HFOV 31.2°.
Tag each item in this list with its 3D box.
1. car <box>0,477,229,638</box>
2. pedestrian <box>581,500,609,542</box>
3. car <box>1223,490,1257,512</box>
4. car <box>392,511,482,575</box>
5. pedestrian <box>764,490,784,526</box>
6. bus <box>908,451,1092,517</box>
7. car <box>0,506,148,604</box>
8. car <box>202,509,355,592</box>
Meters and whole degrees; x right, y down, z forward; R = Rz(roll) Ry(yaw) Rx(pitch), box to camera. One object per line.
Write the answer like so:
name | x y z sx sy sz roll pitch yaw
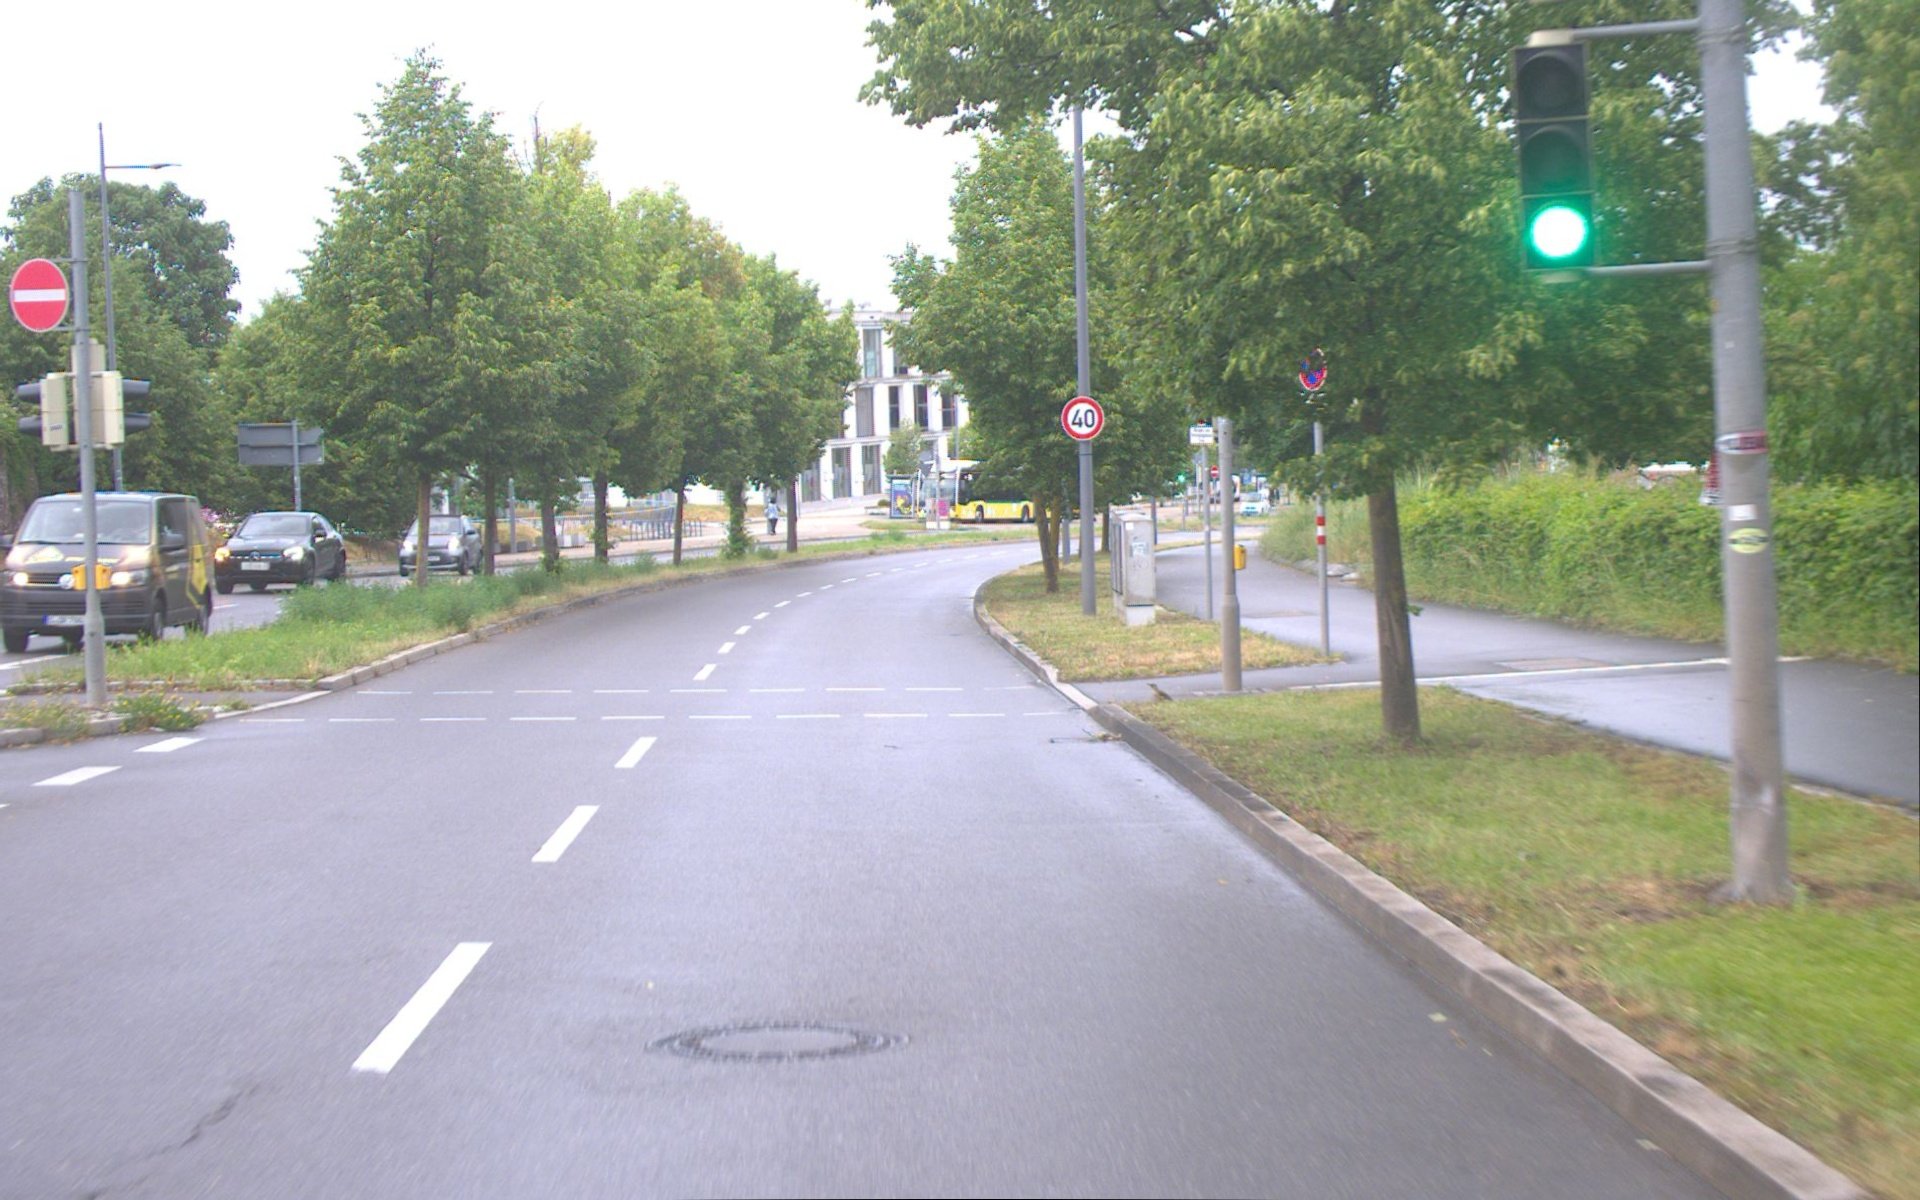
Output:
car | -10.751 -0.569 43.497 2.013 1.912 5.096 0 1 -1
pedestrian | -13.906 -3.006 130.932 0.814 1.615 0.935 0 1 11
car | 18.833 -6.655 231.108 1.480 1.489 2.527 0 1 24
car | -13.162 -1.443 86.692 1.686 1.534 2.916 0 2 3
pedestrian | -8.047 -3.972 148.459 0.834 1.568 0.719 0 1 -6
bus | 2.447 -6.413 192.323 2.789 3.345 18.201 0 1 26
car | -13.988 -0.736 54.132 1.598 1.484 4.001 0 2 -3
car | -13.758 -1.030 69.653 1.881 1.589 4.766 1 1 4
